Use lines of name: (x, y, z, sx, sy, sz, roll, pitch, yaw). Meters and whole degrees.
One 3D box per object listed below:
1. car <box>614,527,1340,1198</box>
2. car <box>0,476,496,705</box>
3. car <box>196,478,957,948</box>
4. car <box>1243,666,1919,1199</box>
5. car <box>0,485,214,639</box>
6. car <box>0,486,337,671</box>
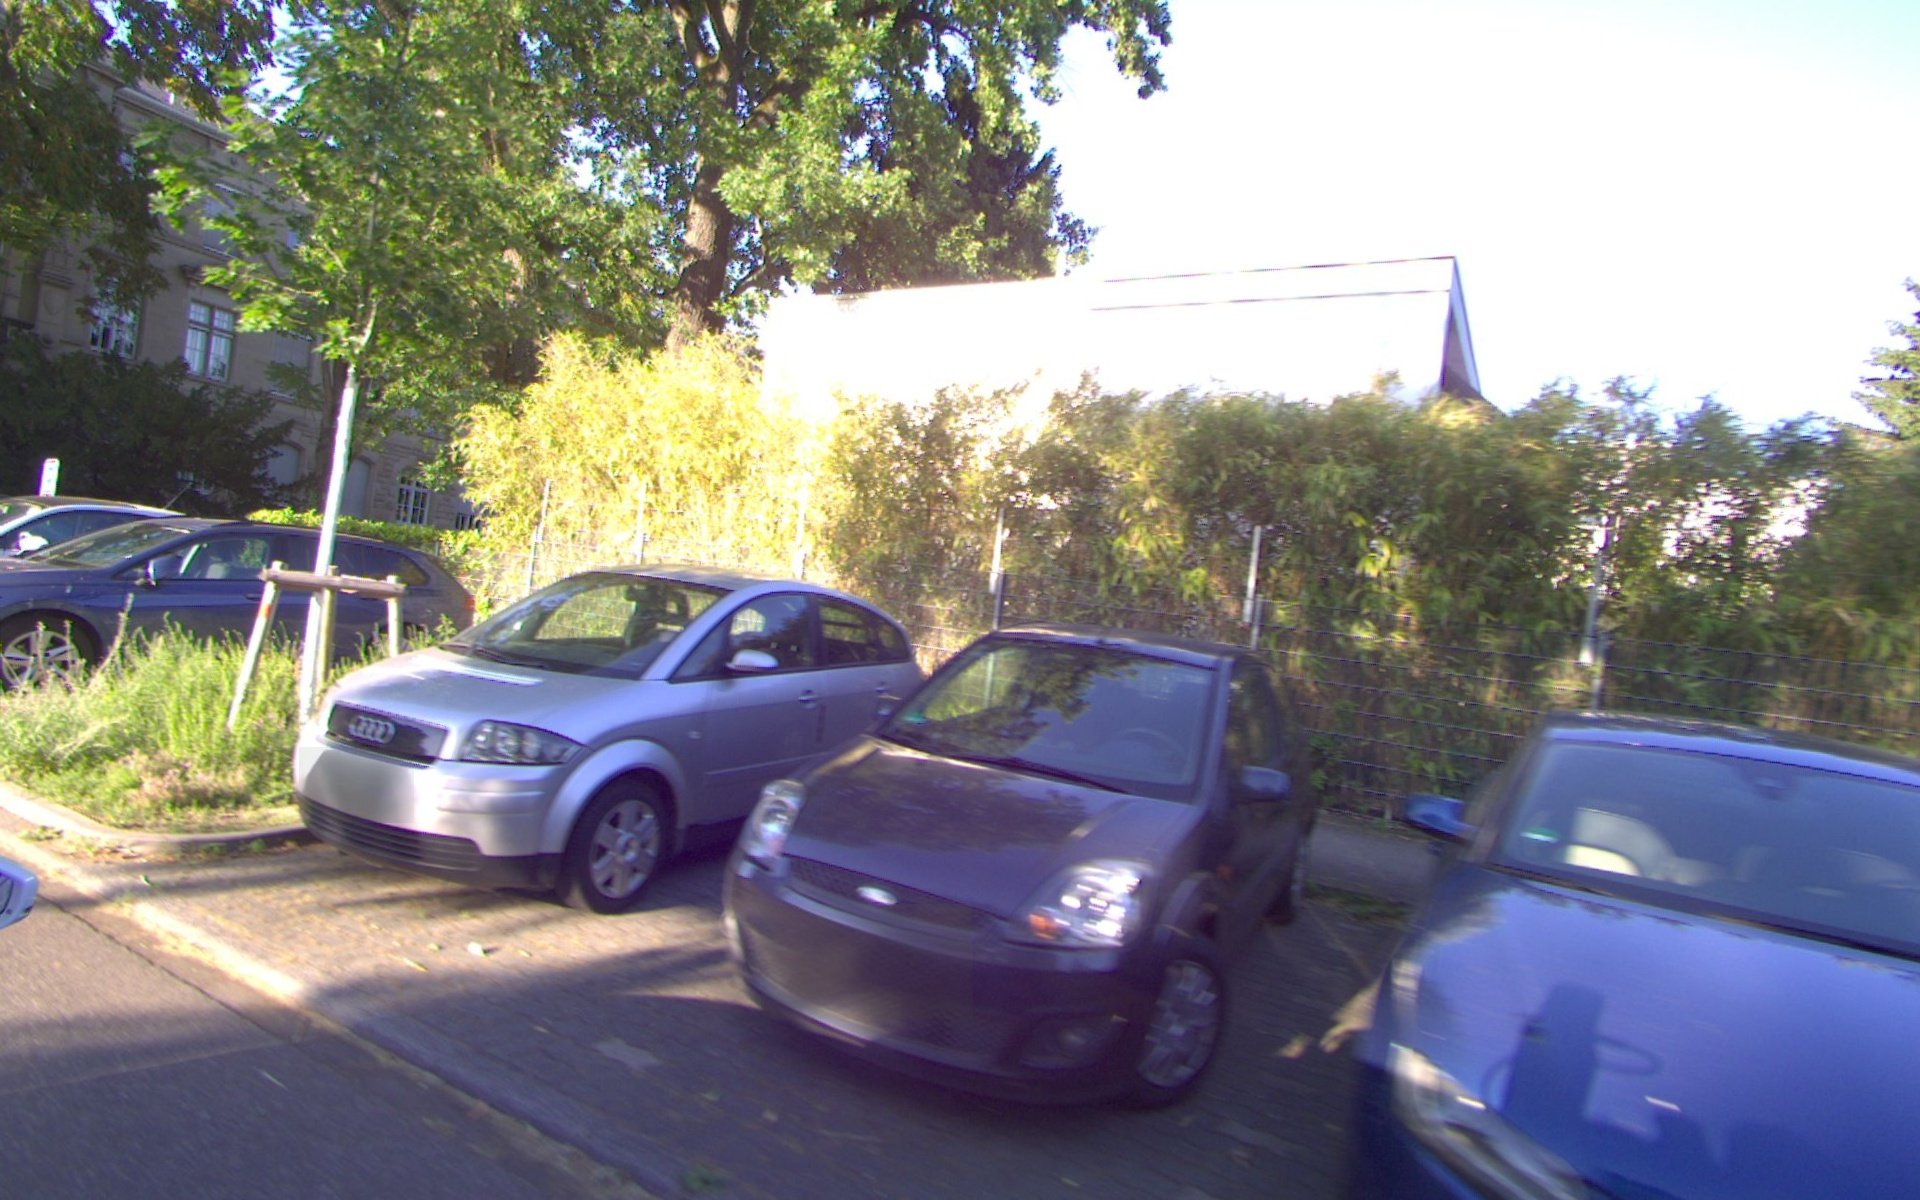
car: (0.539, 0.775, 4.545, 1.760, 1.541, 3.692, 7, -2, 26)
car: (-6.688, -0.018, 8.790, 1.858, 1.567, 4.504, 7, -2, 26)
car: (-1.675, 0.502, 5.526, 1.731, 1.603, 3.503, 7, -2, 28)
car: (2.480, 1.037, 3.296, 1.890, 1.432, 4.594, 5, 0, 30)
car: (-11.004, -0.504, 11.119, 1.843, 1.534, 3.961, 4, -2, 30)
car: (-8.761, -0.236, 9.973, 1.647, 1.534, 3.961, 7, -2, 32)
